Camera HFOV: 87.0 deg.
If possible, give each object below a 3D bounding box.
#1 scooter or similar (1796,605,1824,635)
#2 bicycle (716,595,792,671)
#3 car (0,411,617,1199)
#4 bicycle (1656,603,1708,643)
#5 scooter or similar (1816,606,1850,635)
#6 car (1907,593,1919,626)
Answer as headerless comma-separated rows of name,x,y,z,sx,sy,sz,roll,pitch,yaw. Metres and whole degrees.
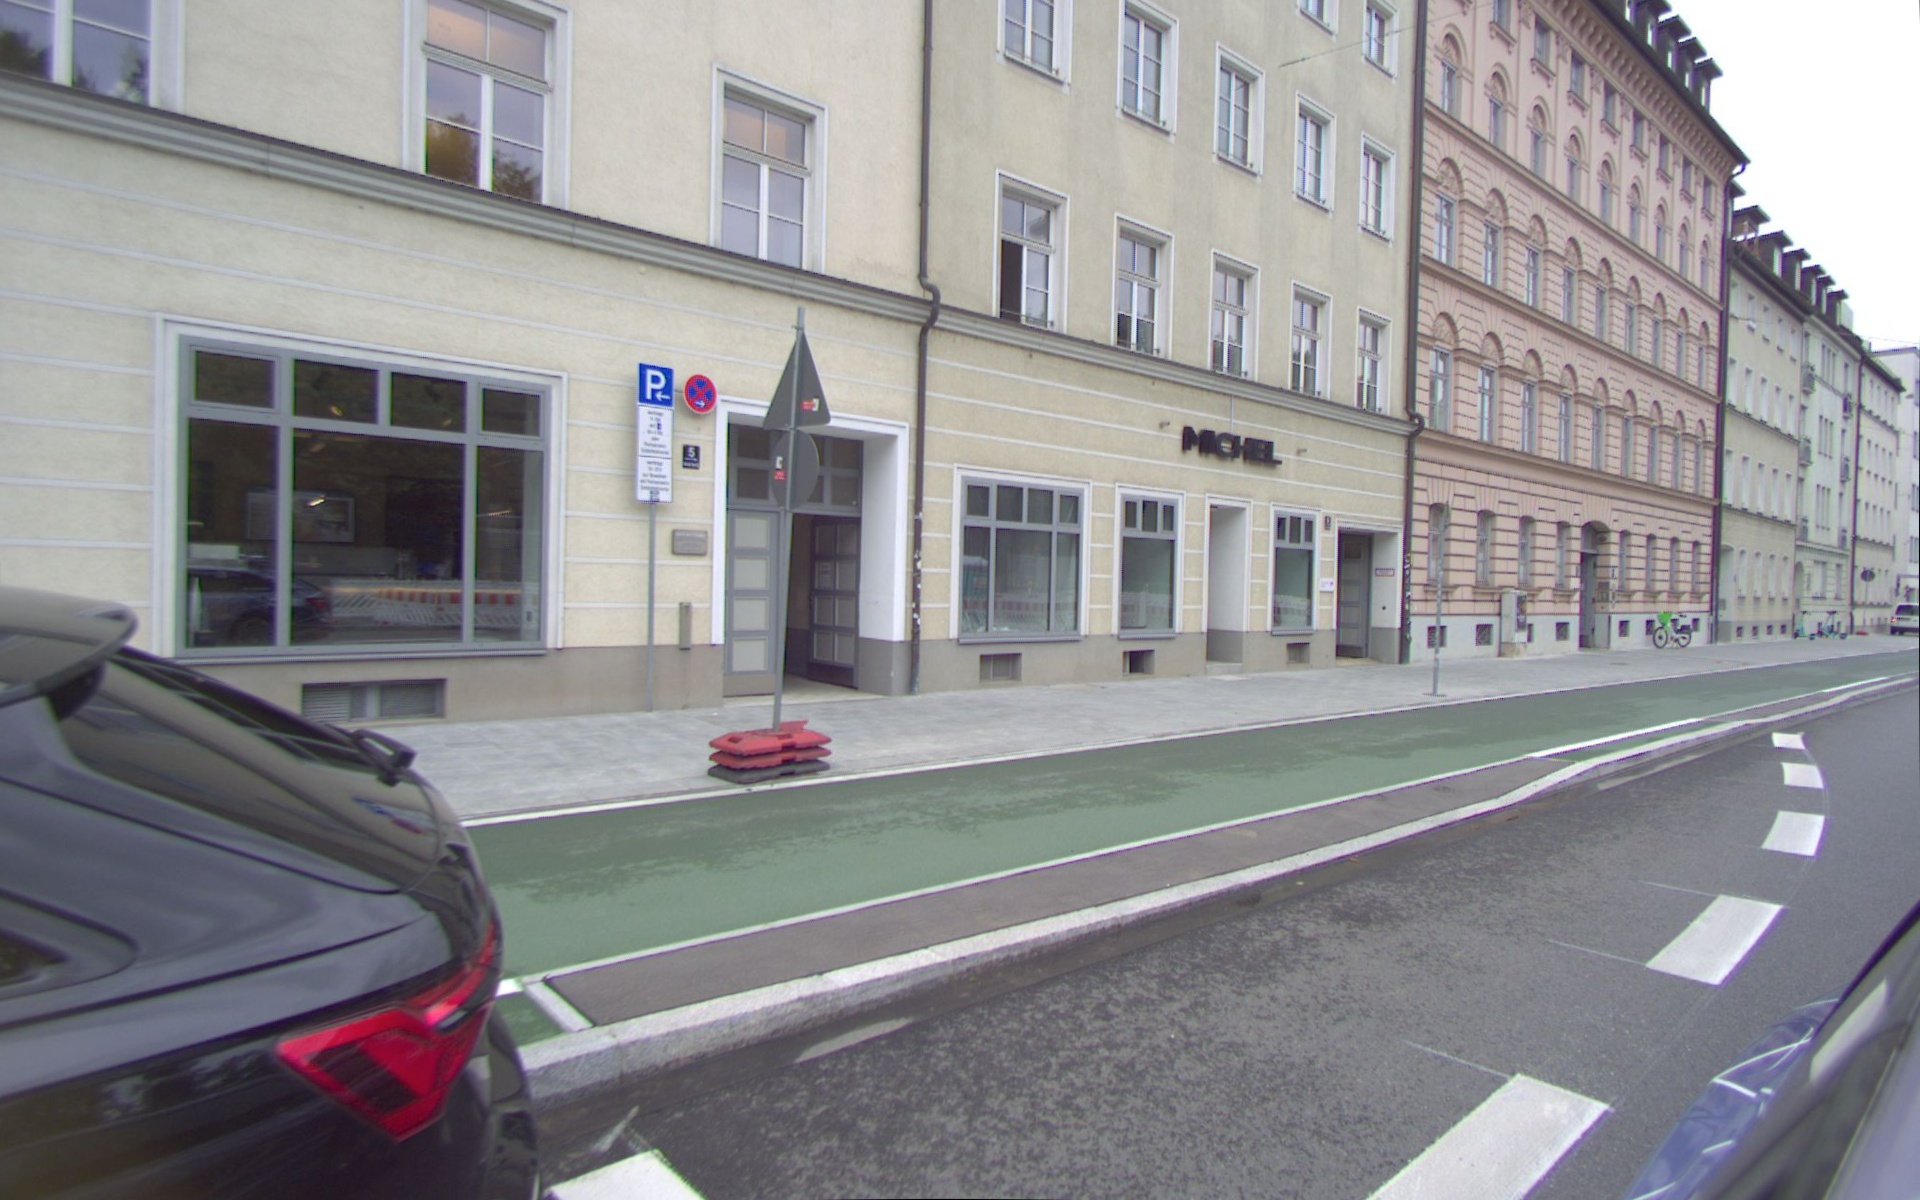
scooter or similar,36.155,0.849,43.038,1.096,1.246,0.248,2,2,-14
bicycle,-3.166,0.480,15.493,0.301,1.068,1.623,1,1,-44
car,-2.761,0.582,0.483,4.604,1.499,1.804,1,-2,-41
bicycle,22.383,0.723,31.374,1.695,1.188,0.428,1,1,-22
scooter or similar,39.715,0.923,46.038,1.105,1.246,0.246,3,2,18
car,54.276,0.589,56.281,4.355,1.771,1.738,1,2,-39
